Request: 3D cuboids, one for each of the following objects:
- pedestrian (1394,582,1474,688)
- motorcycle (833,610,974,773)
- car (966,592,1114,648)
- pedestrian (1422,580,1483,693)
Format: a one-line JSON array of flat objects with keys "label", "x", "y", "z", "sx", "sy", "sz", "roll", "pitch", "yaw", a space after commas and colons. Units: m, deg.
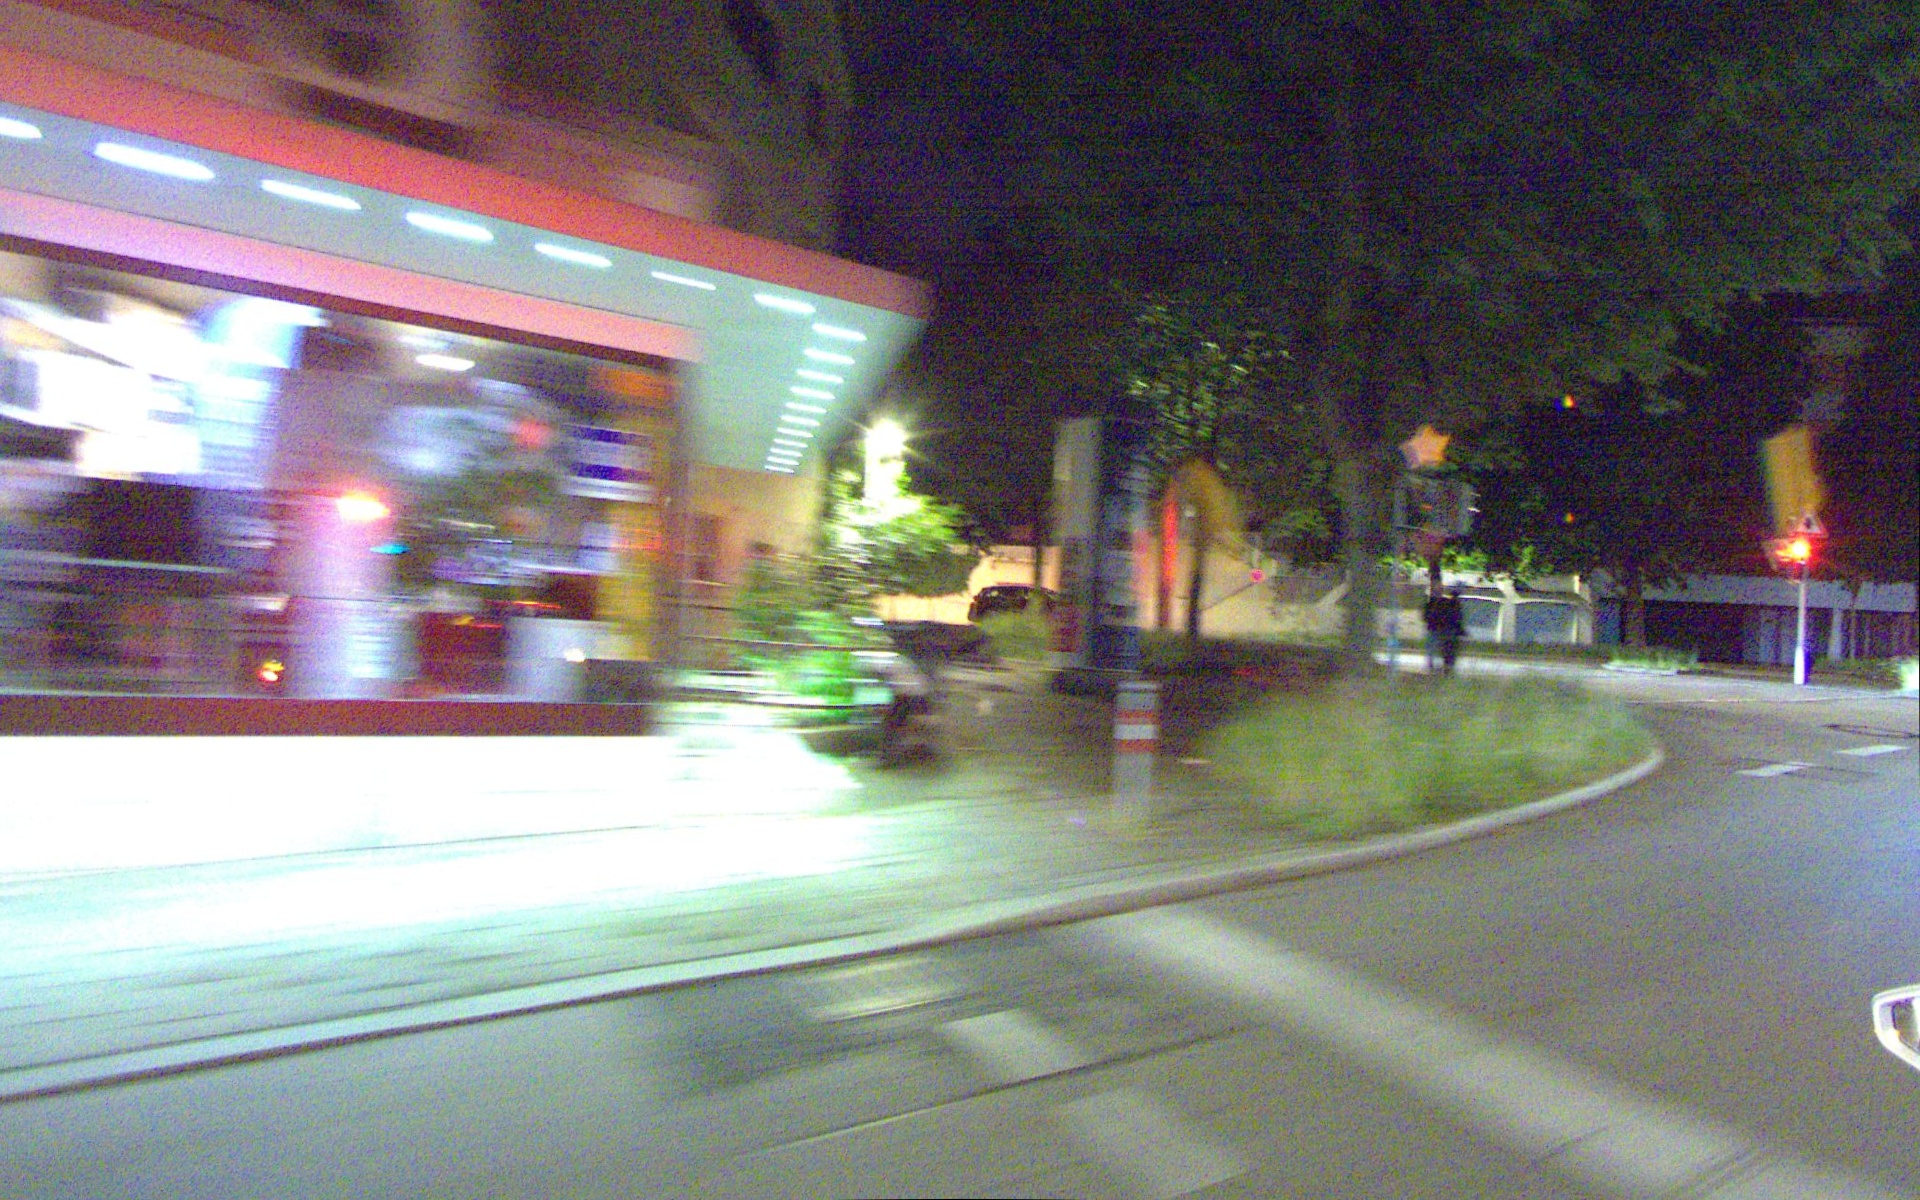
[{"label": "pedestrian", "x": 8.340, "y": 0.602, "z": 17.688, "sx": 0.719, "sy": 1.793, "sz": 0.959, "roll": 1, "pitch": 2, "yaw": -26}, {"label": "motorcycle", "x": -0.442, "y": 0.736, "z": 8.993, "sx": 0.606, "sy": 1.246, "sz": 2.041, "roll": 2, "pitch": 1, "yaw": 15}, {"label": "car", "x": 2.480, "y": 0.592, "z": 31.302, "sx": 4.212, "sy": 1.449, "sz": 1.728, "roll": 3, "pitch": 2, "yaw": 29}, {"label": "pedestrian", "x": 8.175, "y": 0.594, "z": 16.702, "sx": 0.514, "sy": 1.816, "sz": 0.691, "roll": 2, "pitch": 2, "yaw": -11}]
